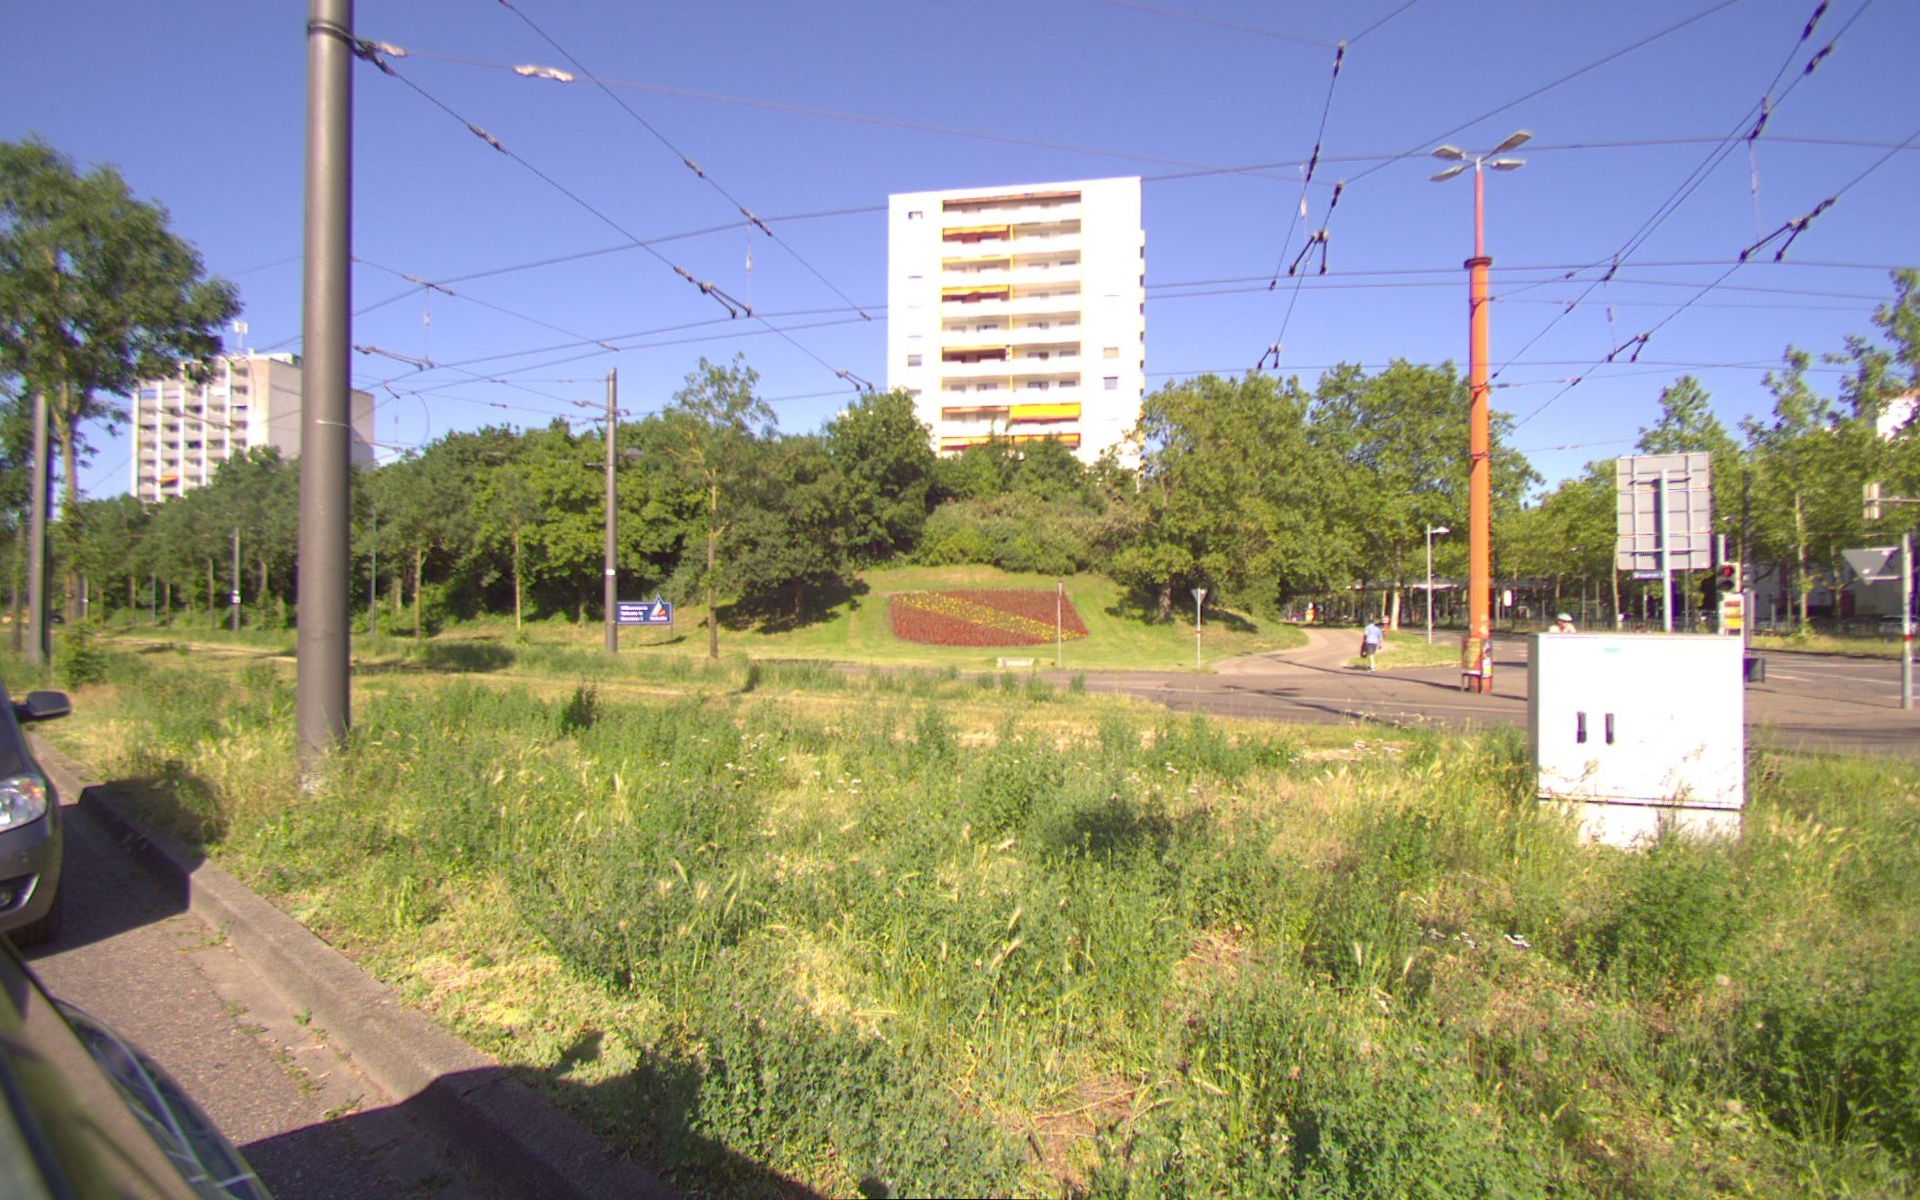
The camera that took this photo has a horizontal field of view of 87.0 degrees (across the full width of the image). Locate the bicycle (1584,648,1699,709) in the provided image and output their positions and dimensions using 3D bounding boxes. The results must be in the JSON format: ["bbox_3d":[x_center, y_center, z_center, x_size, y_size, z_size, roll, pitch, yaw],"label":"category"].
[{"bbox_3d":[13.361,1.518,19.910,0.915,1.095,1.888,0,-1,-2],"label":"bicycle"}]

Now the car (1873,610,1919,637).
[{"bbox_3d":[65.252,1.637,69.860,3.931,1.829,2.006,0,-2,-27],"label":"car"}]

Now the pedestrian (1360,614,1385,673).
[{"bbox_3d":[13.864,1.438,34.020,0.729,1.949,0.726,-1,-2,24],"label":"pedestrian"}]

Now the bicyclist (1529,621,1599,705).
[{"bbox_3d":[12.100,1.255,20.296,0.920,1.650,0.741,0,-1,-1],"label":"bicyclist"}]

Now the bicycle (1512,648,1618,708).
[{"bbox_3d":[12.096,1.533,20.312,0.915,1.095,1.888,0,-1,-2],"label":"bicycle"}]

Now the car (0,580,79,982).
[{"bbox_3d":[-5.936,0.752,5.038,4.382,1.619,1.754,-1,-2,41],"label":"car"}]

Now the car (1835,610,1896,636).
[{"bbox_3d":[66.020,1.693,73.756,3.931,1.829,2.006,0,-2,-27],"label":"car"}]

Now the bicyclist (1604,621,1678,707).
[{"bbox_3d":[13.358,1.238,19.877,0.920,1.650,0.741,0,-1,-1],"label":"bicyclist"}]

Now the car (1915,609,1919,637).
[{"bbox_3d":[64.410,1.499,65.897,3.931,1.829,2.006,0,-2,-27],"label":"car"}]
